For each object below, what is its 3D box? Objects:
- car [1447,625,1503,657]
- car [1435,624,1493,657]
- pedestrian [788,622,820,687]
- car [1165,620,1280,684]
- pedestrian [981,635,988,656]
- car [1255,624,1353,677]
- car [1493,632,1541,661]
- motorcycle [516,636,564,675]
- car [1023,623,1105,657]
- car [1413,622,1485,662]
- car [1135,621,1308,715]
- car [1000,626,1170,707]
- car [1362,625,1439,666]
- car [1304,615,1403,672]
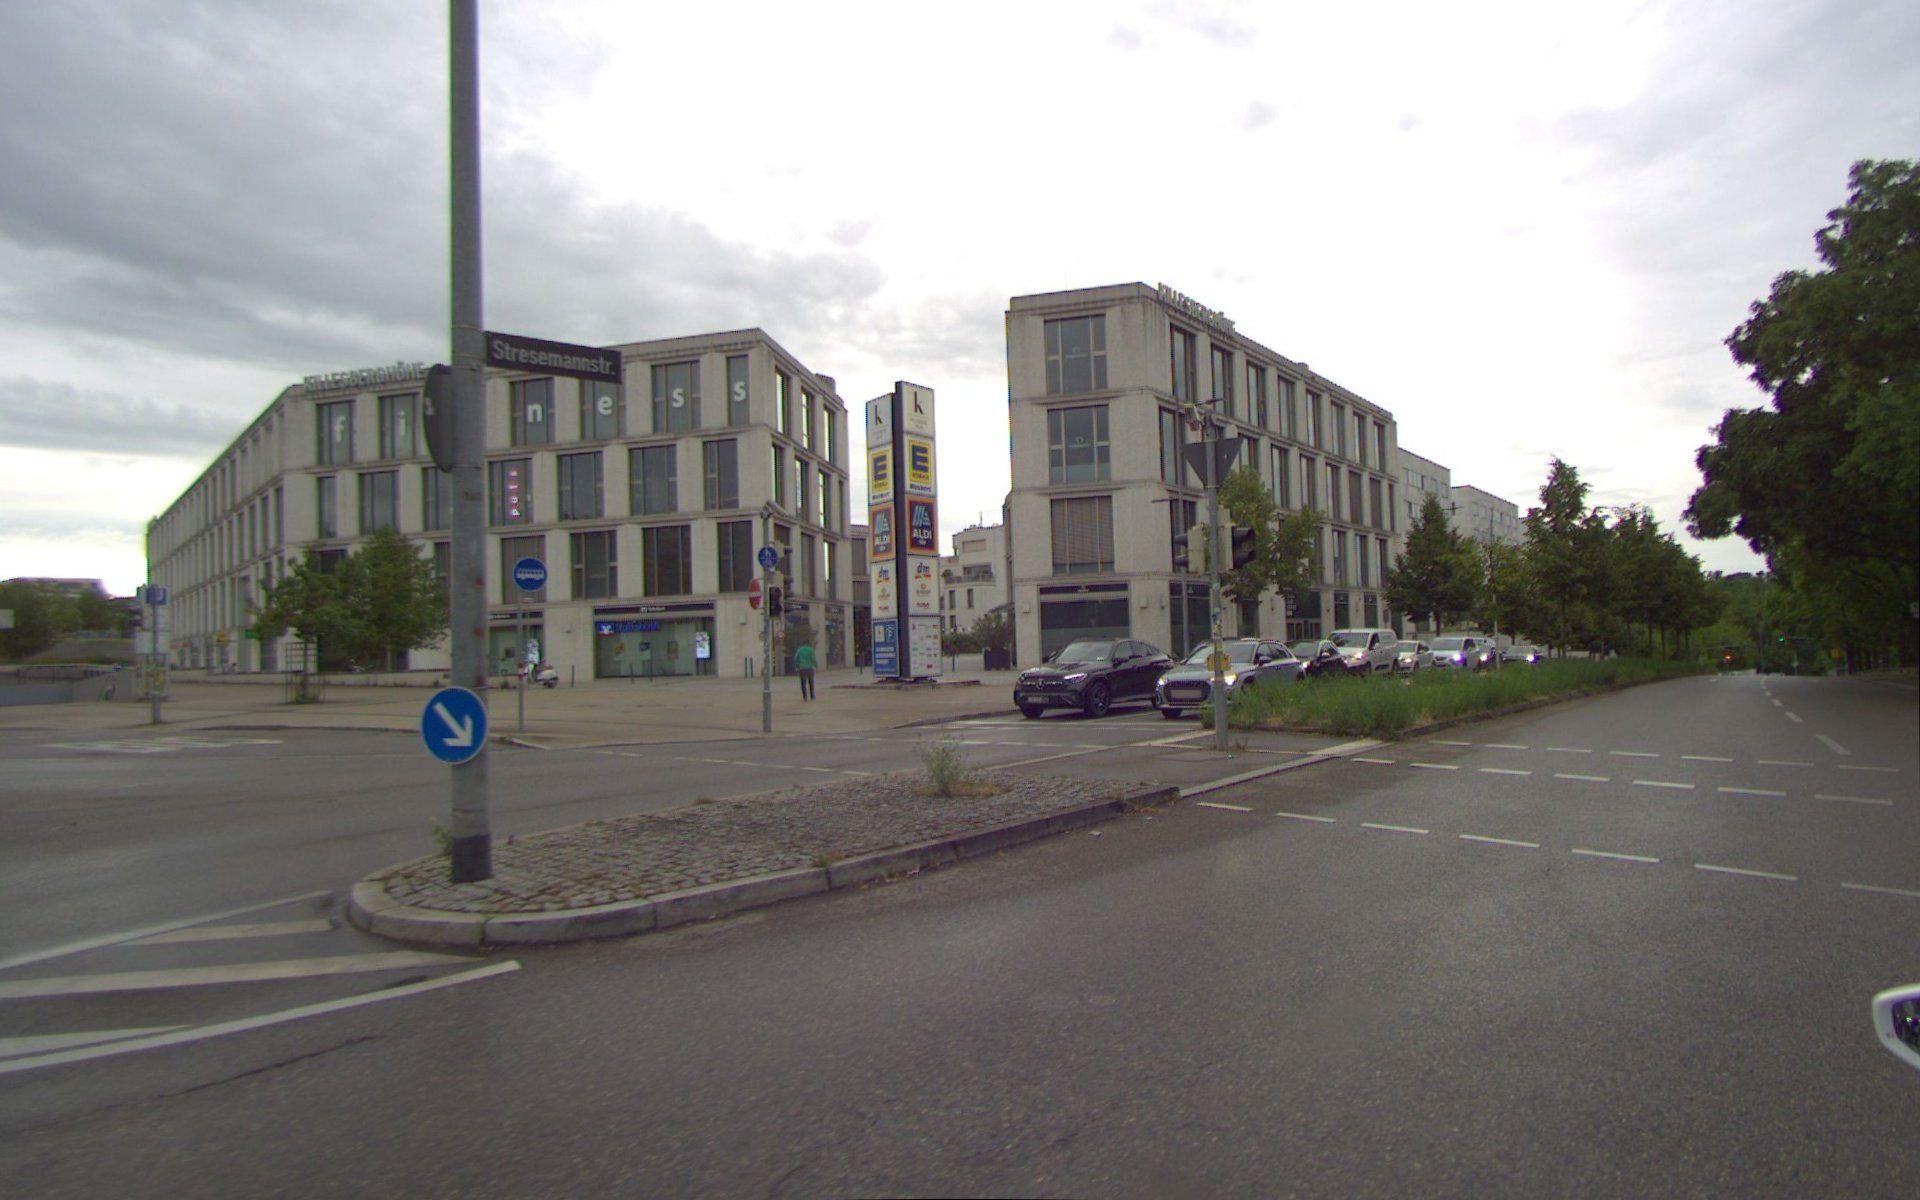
[{"bbox_3d":[25.645,2.038,49.945,1.622,1.429,3.977,-4,-3,40],"label":"car"},{"bbox_3d":[30.307,2.457,60.300,2.096,1.839,5.239,-2,-4,38],"label":"car"},{"bbox_3d":[-4.237,1.470,27.311,0.740,1.709,0.678,0,-2,-20],"label":"pedestrian"},{"bbox_3d":[7.244,1.405,27.533,1.631,1.597,3.685,-4,-3,39],"label":"car"},{"bbox_3d":[2.111,3.952,87.282,0.452,1.869,0.487,-1,-1,14],"label":"pedestrian"},{"bbox_3d":[10.844,1.561,31.545,1.694,1.479,3.733,-4,-3,39],"label":"car"},{"bbox_3d":[31.849,2.637,57.397,1.675,1.602,4.000,-2,-3,39],"label":"car"},{"bbox_3d":[-16.295,2.132,38.989,0.519,1.421,1.751,-1,-1,33],"label":"motorcycle"},{"bbox_3d":[4.434,1.684,42.714,3.230,1.394,1.568,-1,-2,14],"label":"car"},{"bbox_3d":[22.034,1.844,45.181,1.808,1.621,4.652,-4,-3,40],"label":"car"},{"bbox_3d":[5.305,1.257,20.048,1.826,1.596,4.146,-1,-1,38],"label":"car"},{"bbox_3d":[2.824,1.411,21.994,1.803,1.539,4.047,-5,-3,38],"label":"car"},{"bbox_3d":[17.588,1.801,40.020,1.723,1.487,4.041,-4,-3,40],"label":"car"},{"bbox_3d":[13.902,1.462,35.329,1.822,1.826,4.750,-1,-1,40],"label":"car"}]
